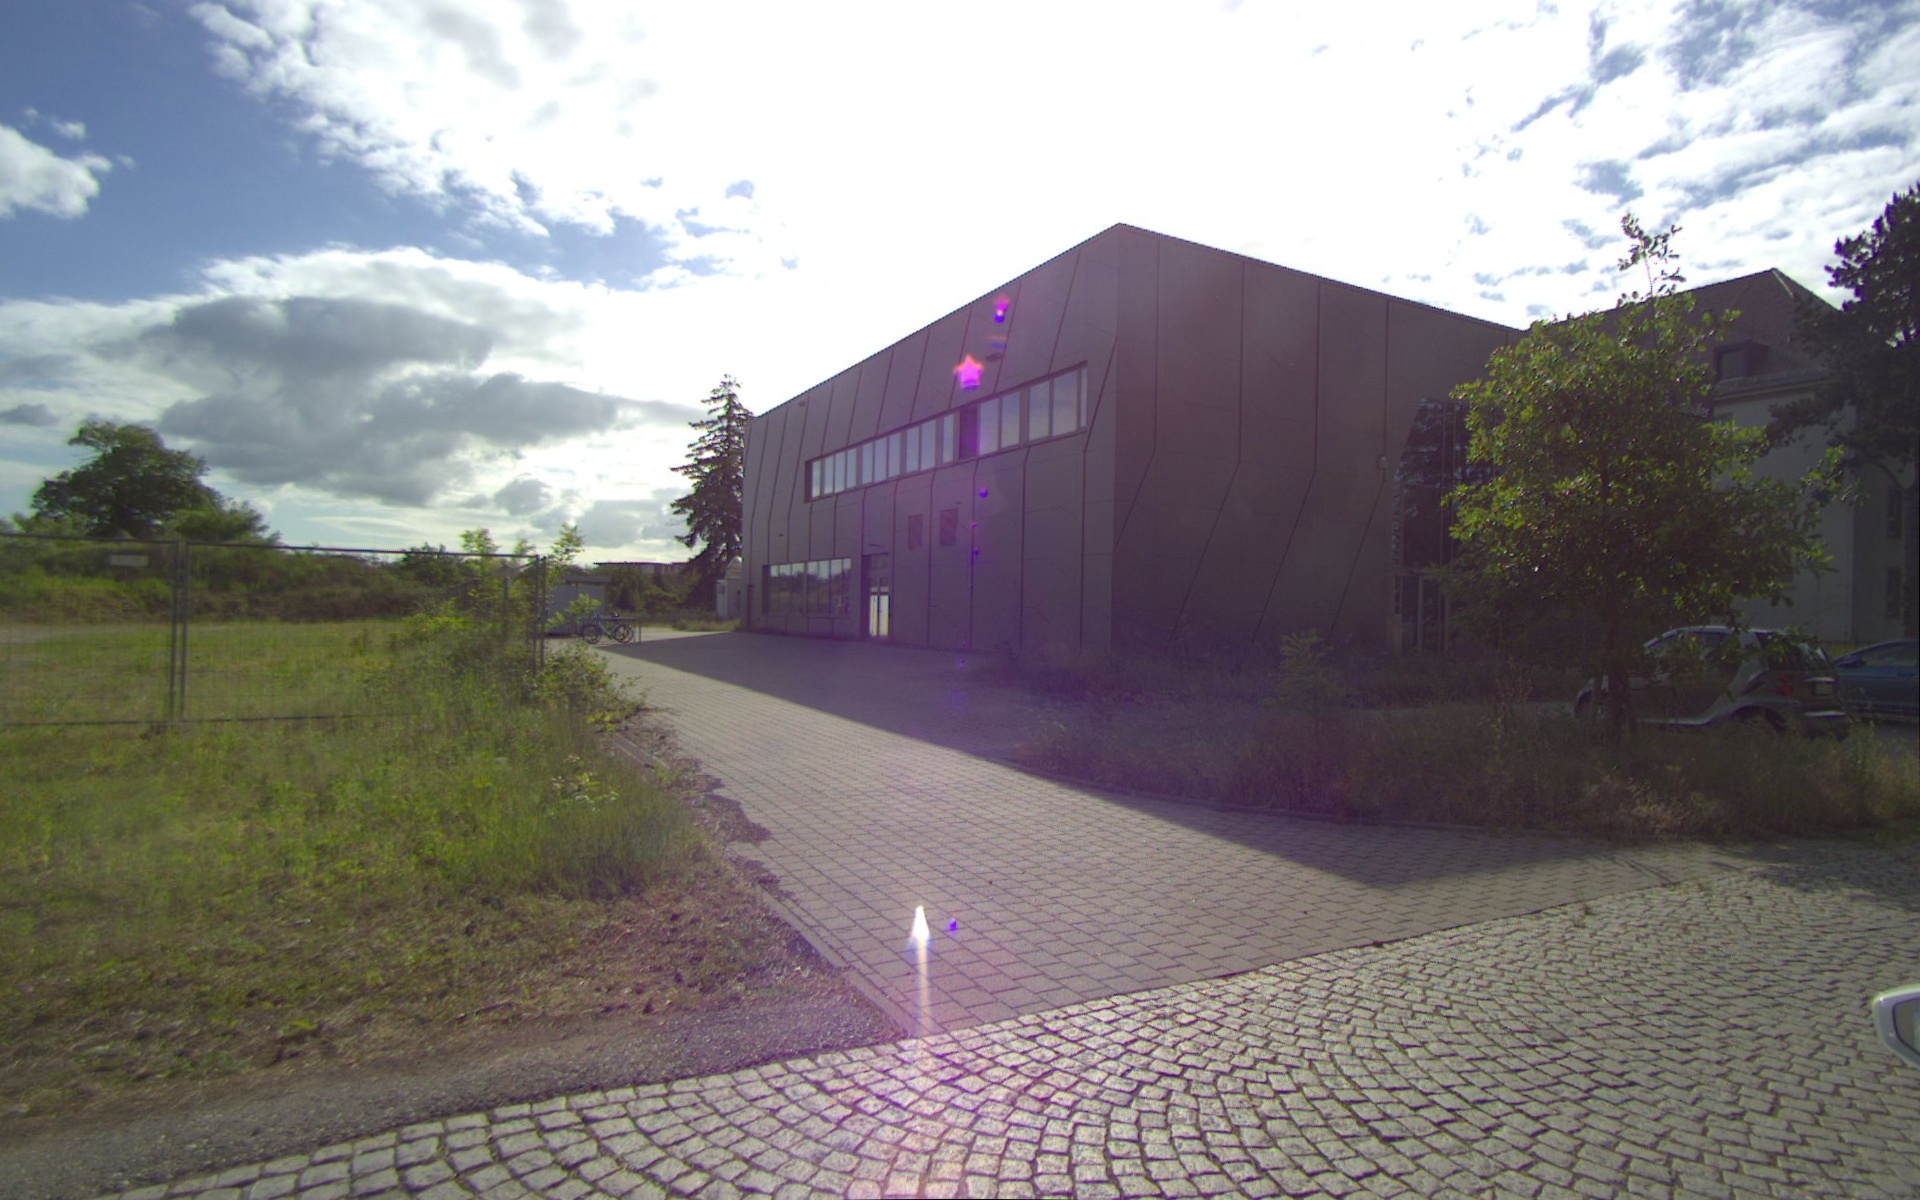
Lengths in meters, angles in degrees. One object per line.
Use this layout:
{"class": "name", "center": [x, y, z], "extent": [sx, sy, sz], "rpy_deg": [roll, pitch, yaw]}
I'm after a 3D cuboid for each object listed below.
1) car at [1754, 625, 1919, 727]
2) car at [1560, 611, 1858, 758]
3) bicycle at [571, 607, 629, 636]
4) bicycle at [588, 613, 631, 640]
{"class": "car", "center": [15.964, 1.278, 16.504], "extent": [1.661, 1.484, 4.234], "rpy_deg": [0, 2, -31]}
{"class": "car", "center": [9.613, 1.005, 13.049], "extent": [1.500, 1.563, 2.686], "rpy_deg": [2, 1, -29]}
{"class": "bicycle", "center": [-13.183, 0.777, 36.798], "extent": [1.942, 0.982, 0.837], "rpy_deg": [-1, 0, -26]}
{"class": "bicycle", "center": [-12.155, 0.909, 34.855], "extent": [1.339, 0.912, 0.515], "rpy_deg": [0, 0, -26]}
